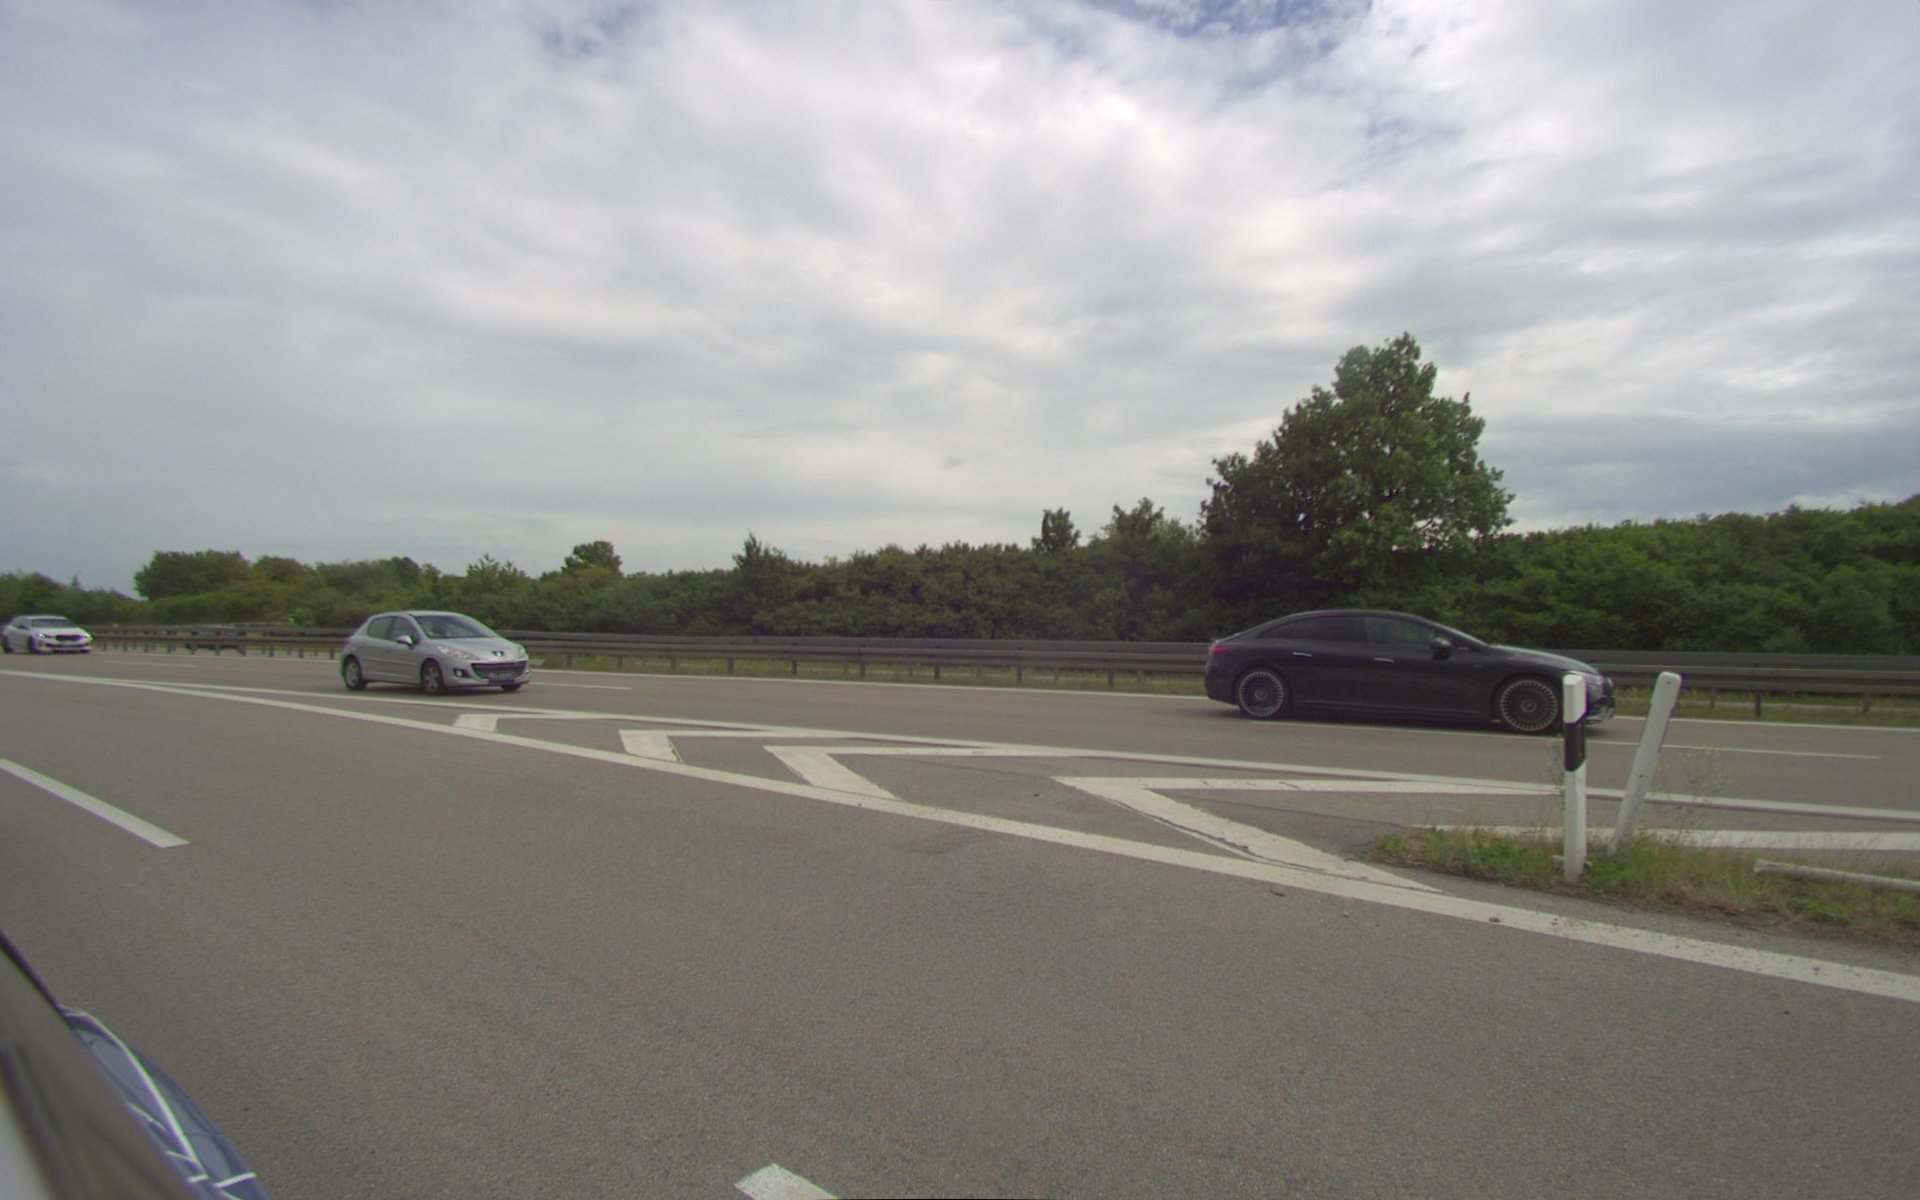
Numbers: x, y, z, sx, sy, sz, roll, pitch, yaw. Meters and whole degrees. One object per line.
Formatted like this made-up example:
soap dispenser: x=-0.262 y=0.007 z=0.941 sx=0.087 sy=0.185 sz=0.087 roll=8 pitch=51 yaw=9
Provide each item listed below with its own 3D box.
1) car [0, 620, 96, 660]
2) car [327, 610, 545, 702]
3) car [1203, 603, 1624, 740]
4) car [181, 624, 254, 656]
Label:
car: x=-35.459 y=1.513 z=39.102 sx=4.361 sy=1.464 sz=1.823 roll=-1 pitch=-2 yaw=30
car: x=-9.667 y=0.972 z=18.616 sx=3.985 sy=1.530 sz=1.705 roll=-1 pitch=-2 yaw=31
car: x=5.819 y=0.843 z=13.312 sx=4.762 sy=1.521 sz=1.979 roll=-1 pitch=-2 yaw=31
car: x=-42.756 y=2.276 z=58.280 sx=3.985 sy=1.816 sz=1.979 roll=-1 pitch=-2 yaw=31
